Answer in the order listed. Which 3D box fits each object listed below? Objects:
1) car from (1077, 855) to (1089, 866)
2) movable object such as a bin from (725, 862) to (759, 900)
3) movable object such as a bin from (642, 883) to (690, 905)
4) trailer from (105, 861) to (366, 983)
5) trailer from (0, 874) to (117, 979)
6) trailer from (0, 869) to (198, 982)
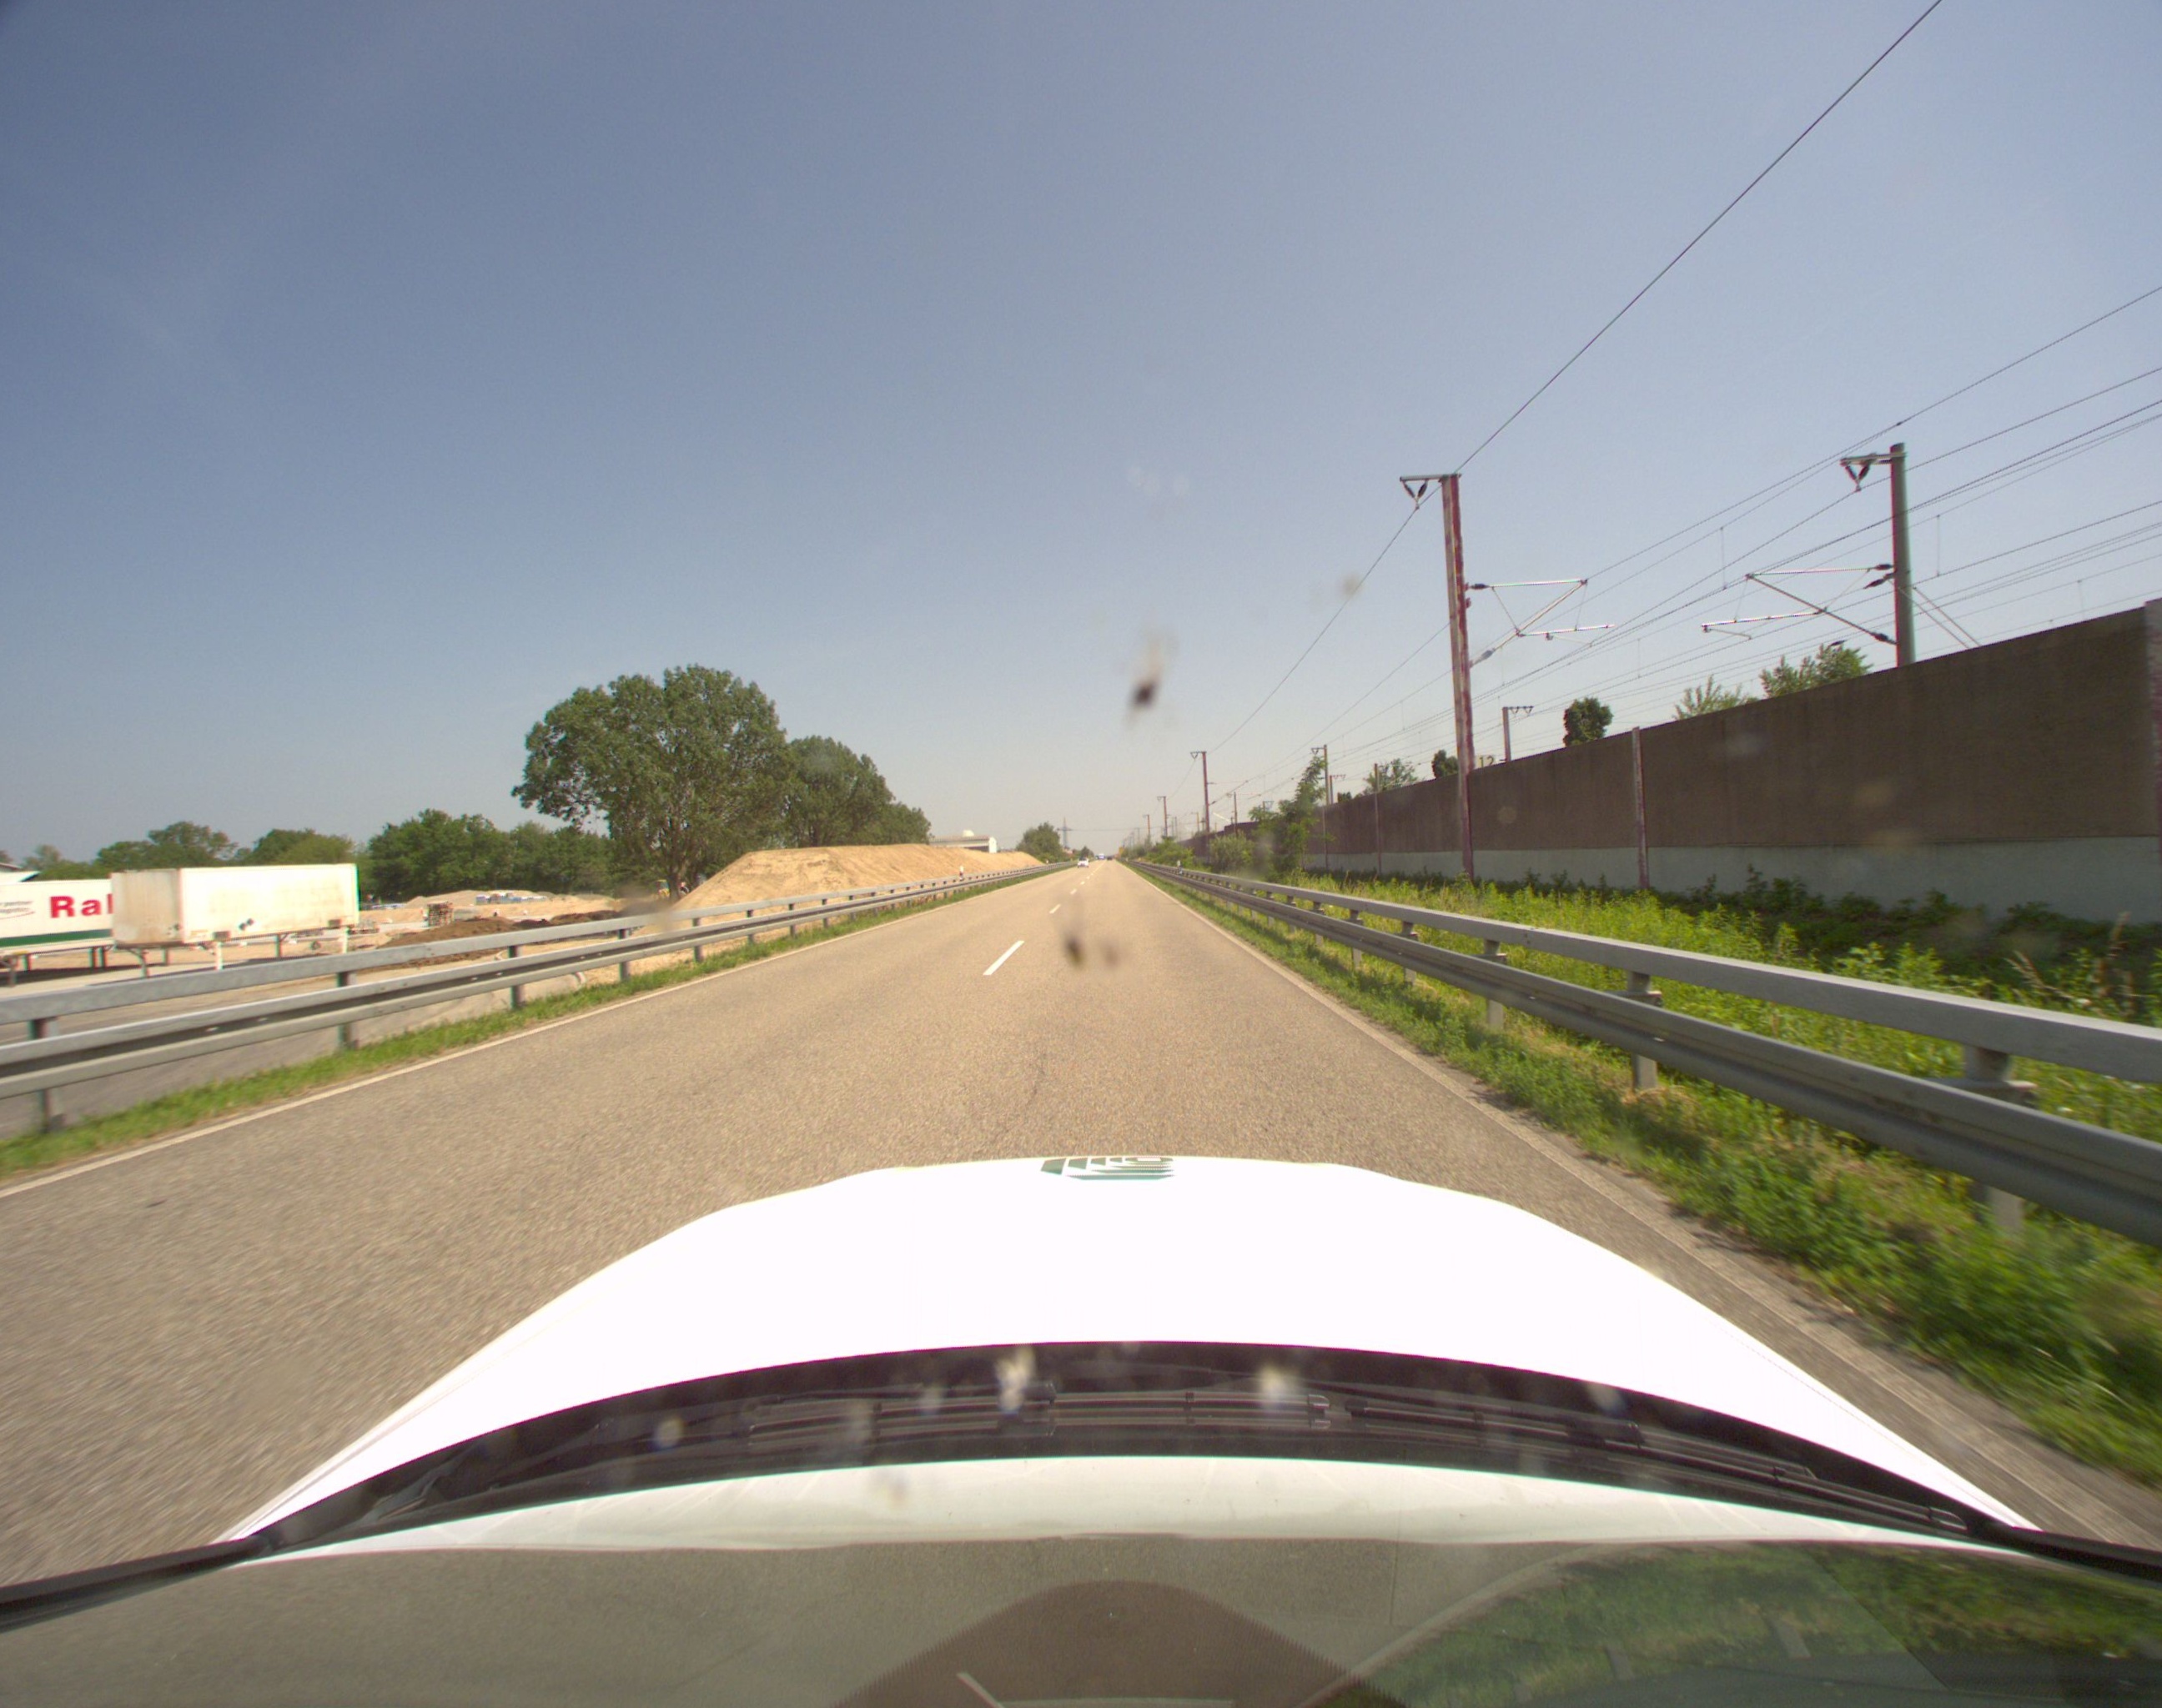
[{"bbox_3d":[0.343,0.944,120.079,1.589,1.576,3.829,-2,0,1],"label":"car"},{"bbox_3d":[-36.355,2.878,87.473,2.627,3.652,5.429,-4,0,-17],"label":"movable object such as a bin"},{"bbox_3d":[-44.323,4.266,87.097,3.991,2.013,1.991,-5,0,-13],"label":"movable object such as a bin"},{"bbox_3d":[-34.836,2.557,34.173,2.672,4.332,7.946,-2,0,-2],"label":"trailer"},{"bbox_3d":[-46.132,3.114,33.925,2.846,4.219,7.536,-2,0,-1],"label":"trailer"},{"bbox_3d":[-42.939,2.853,34.338,2.736,4.147,7.895,-2,0,-1],"label":"trailer"}]
